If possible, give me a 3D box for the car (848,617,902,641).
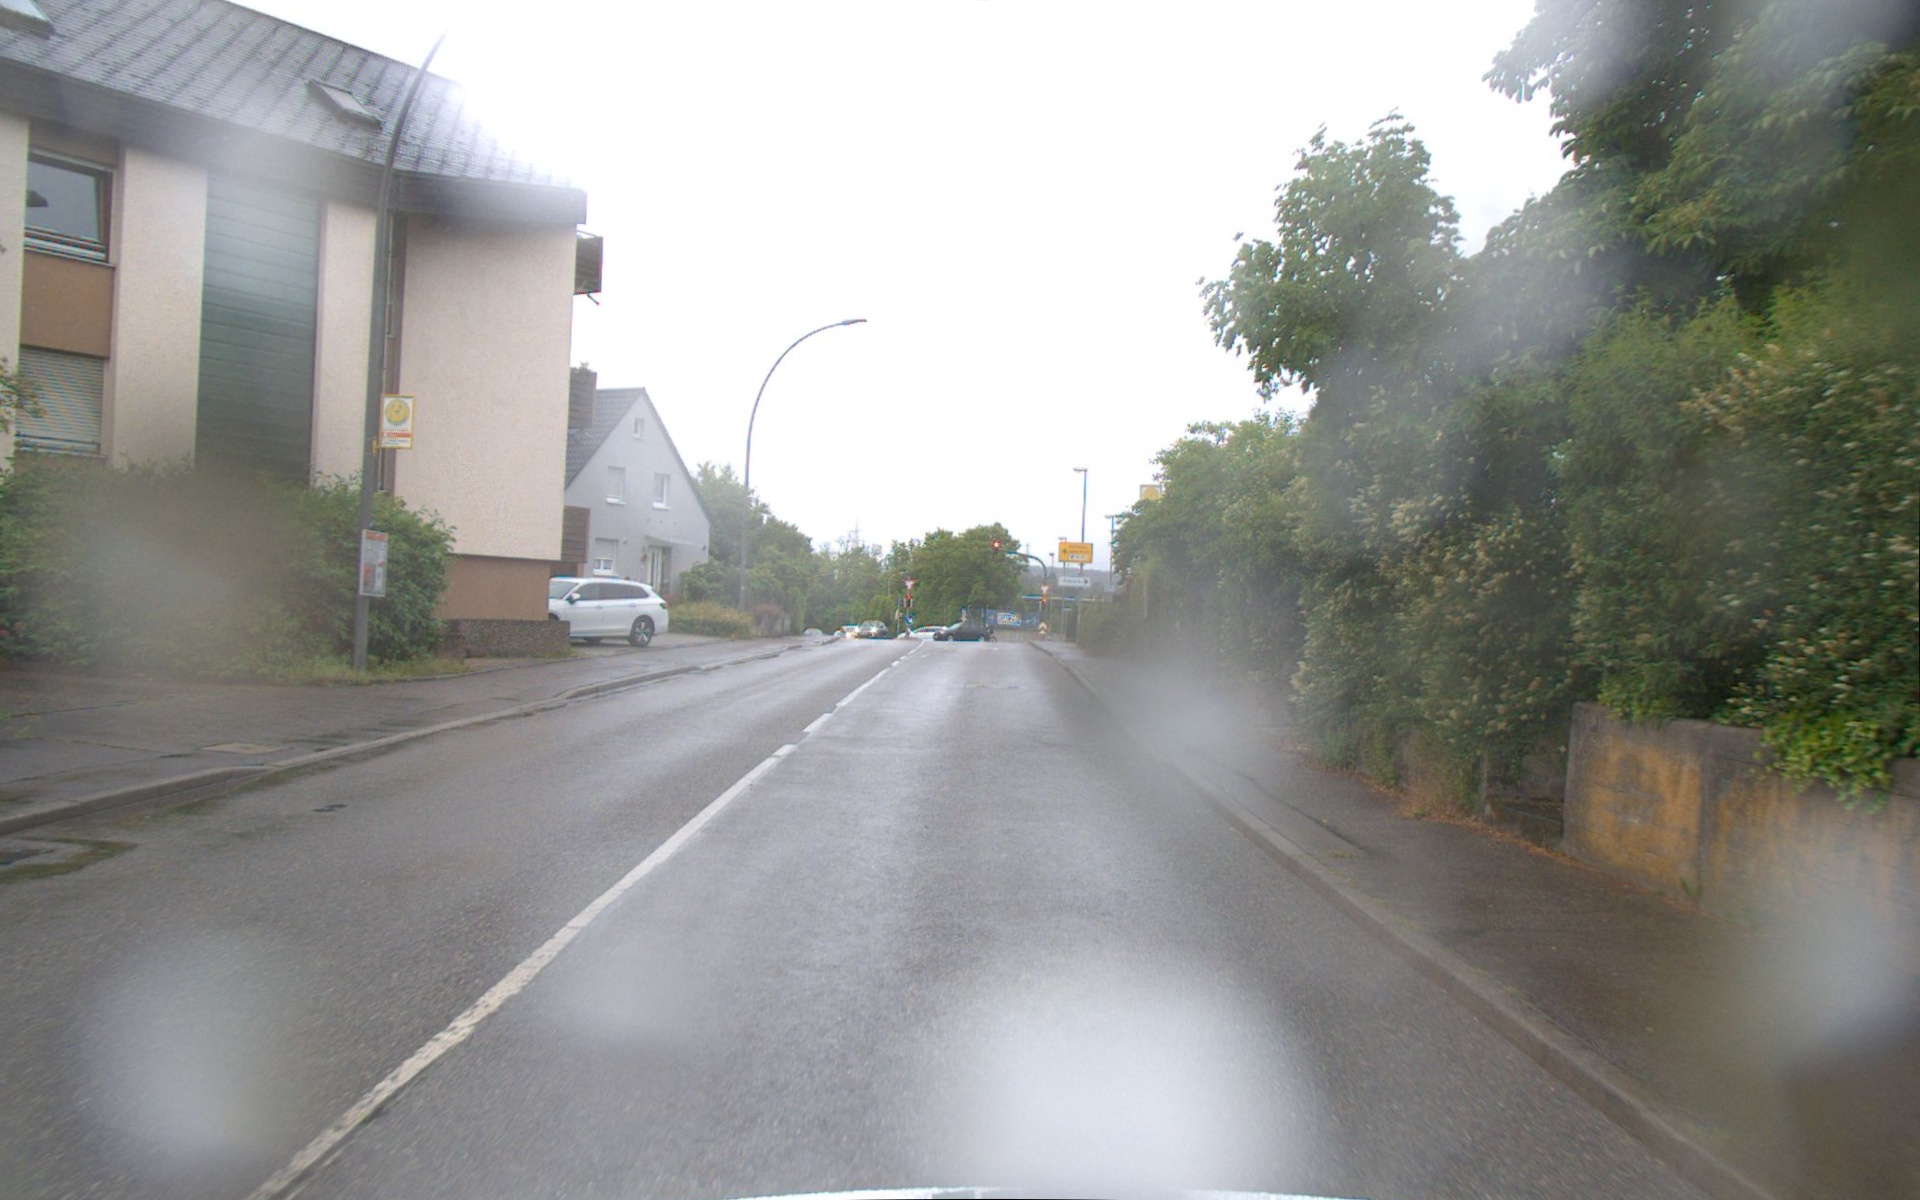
[{"bbox_3d":[-6.000,2.078,117.417,1.774,1.550,3.987,2,0,34],"label":"car"}]

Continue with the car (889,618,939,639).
[{"bbox_3d":[-3.860,2.364,138.654,3.902,1.646,1.945,1,2,6],"label":"car"}]

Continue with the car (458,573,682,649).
[{"bbox_3d":[-8.626,0.258,36.994,1.868,1.502,4.866,4,1,34],"label":"car"}]

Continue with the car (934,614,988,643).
[{"bbox_3d":[0.072,2.193,126.180,3.902,2.049,1.779,2,0,7],"label":"car"}]
